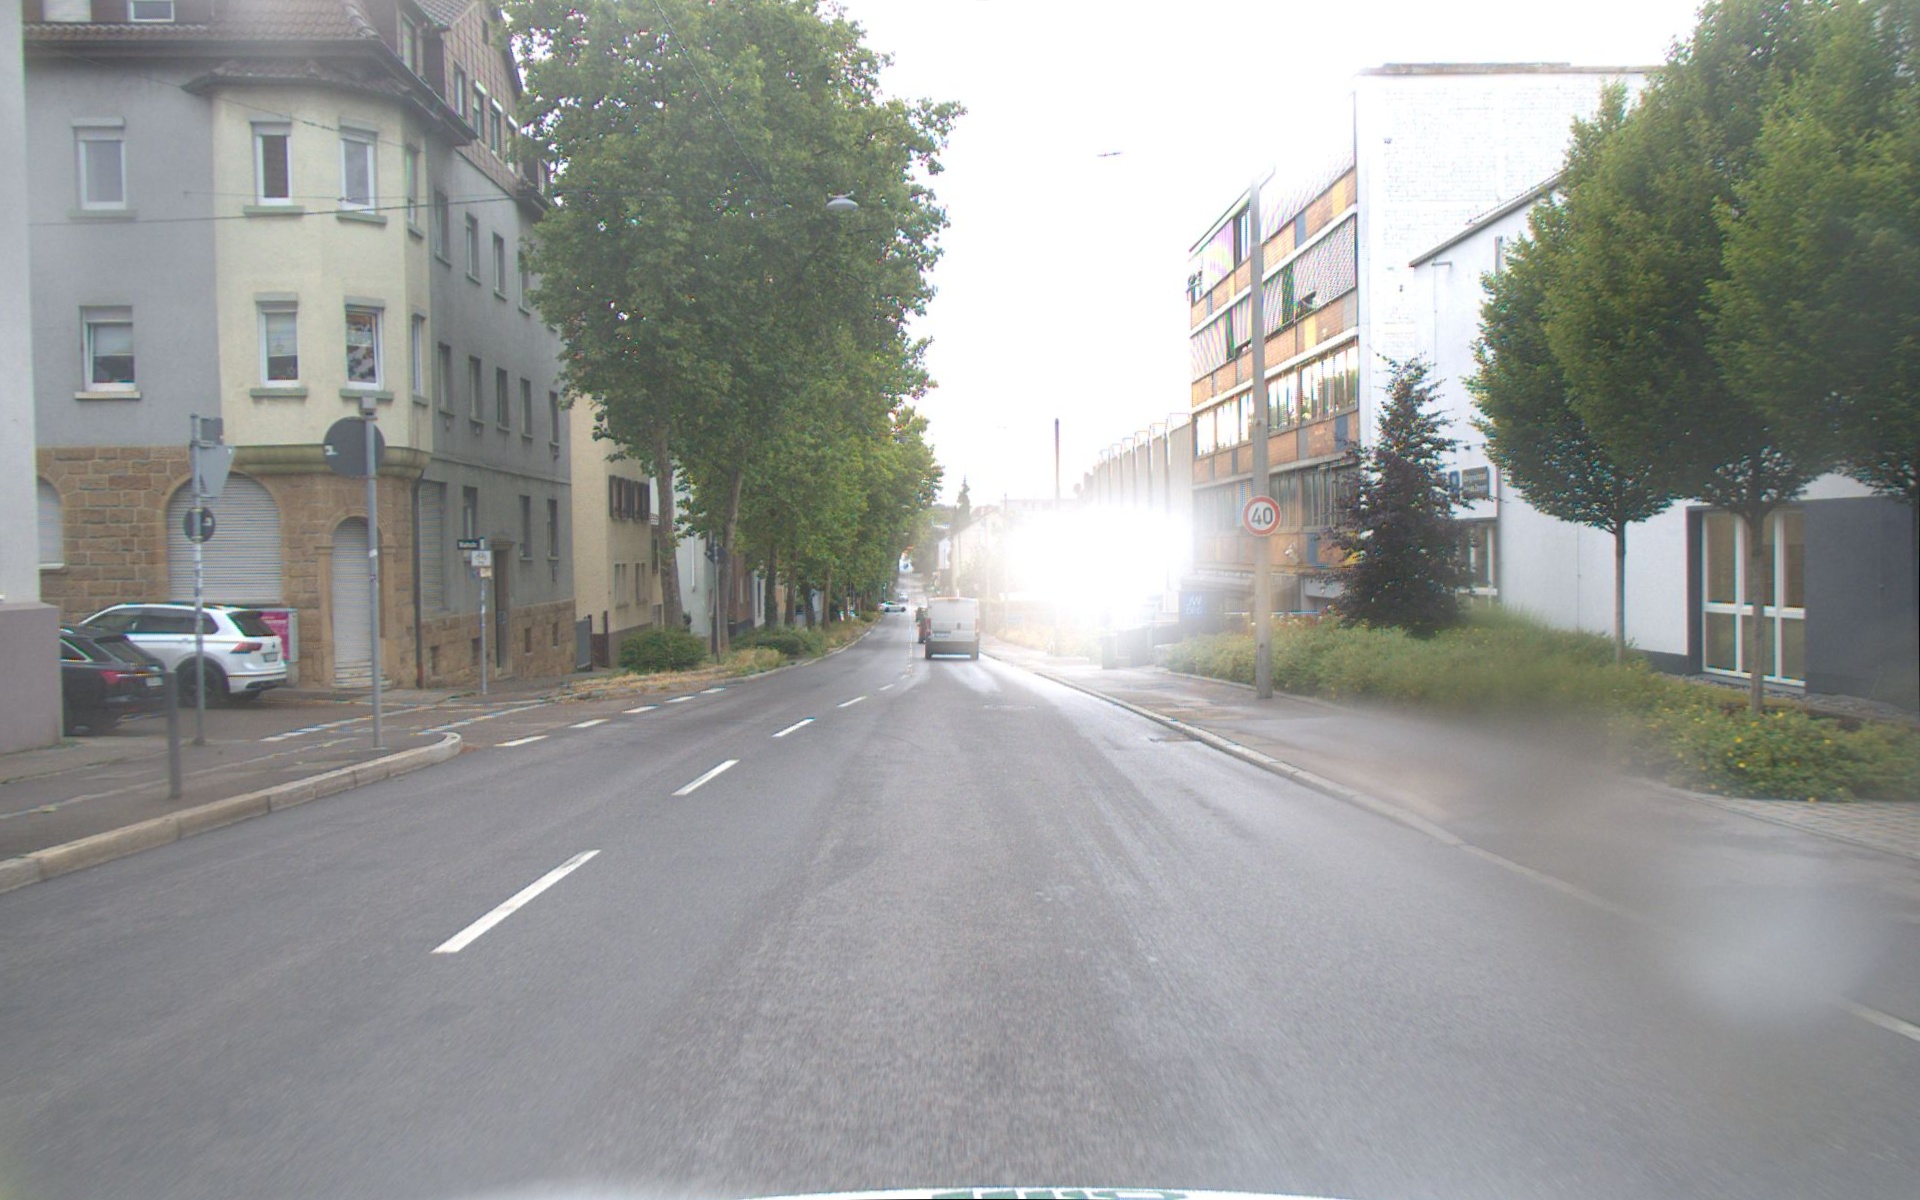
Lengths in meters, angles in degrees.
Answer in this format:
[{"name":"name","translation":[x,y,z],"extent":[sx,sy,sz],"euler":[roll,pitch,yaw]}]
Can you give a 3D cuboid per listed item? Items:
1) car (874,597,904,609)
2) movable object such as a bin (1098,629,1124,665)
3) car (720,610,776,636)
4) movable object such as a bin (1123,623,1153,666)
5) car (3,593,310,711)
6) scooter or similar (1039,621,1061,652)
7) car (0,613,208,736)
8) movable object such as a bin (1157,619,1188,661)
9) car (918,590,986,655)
[{"name":"car","translation":[-9.673,0.426,225.521],"extent":[1.962,1.604,3.981],"euler":[0,0,39]},{"name":"movable object such as a bin","translation":[4.127,1.282,45.279],"extent":[0.607,0.953,0.686],"euler":[-4,0,-1]},{"name":"car","translation":[-16.341,1.781,127.885],"extent":[4.112,1.925,1.999],"euler":[-1,0,-3]},{"name":"movable object such as a bin","translation":[4.893,1.215,45.458],"extent":[0.681,1.101,0.778],"euler":[-4,0,-1]},{"name":"car","translation":[-13.365,0.834,27.719],"extent":[4.098,1.733,1.999],"euler":[3,0,-1]},{"name":"scooter or similar","translation":[3.489,1.403,64.163],"extent":[0.593,1.182,1.698],"euler":[-1,-1,-6]},{"name":"car","translation":[-12.527,0.941,22.174],"extent":[3.907,1.422,1.999],"euler":[3,0,-2]},{"name":"movable object such as a bin","translation":[5.845,1.105,45.536],"extent":[0.681,1.101,0.778],"euler":[-4,0,-1]},{"name":"car","translation":[-0.343,0.807,62.846],"extent":[2.300,2.198,4.775],"euler":[-2,1,-3]}]
